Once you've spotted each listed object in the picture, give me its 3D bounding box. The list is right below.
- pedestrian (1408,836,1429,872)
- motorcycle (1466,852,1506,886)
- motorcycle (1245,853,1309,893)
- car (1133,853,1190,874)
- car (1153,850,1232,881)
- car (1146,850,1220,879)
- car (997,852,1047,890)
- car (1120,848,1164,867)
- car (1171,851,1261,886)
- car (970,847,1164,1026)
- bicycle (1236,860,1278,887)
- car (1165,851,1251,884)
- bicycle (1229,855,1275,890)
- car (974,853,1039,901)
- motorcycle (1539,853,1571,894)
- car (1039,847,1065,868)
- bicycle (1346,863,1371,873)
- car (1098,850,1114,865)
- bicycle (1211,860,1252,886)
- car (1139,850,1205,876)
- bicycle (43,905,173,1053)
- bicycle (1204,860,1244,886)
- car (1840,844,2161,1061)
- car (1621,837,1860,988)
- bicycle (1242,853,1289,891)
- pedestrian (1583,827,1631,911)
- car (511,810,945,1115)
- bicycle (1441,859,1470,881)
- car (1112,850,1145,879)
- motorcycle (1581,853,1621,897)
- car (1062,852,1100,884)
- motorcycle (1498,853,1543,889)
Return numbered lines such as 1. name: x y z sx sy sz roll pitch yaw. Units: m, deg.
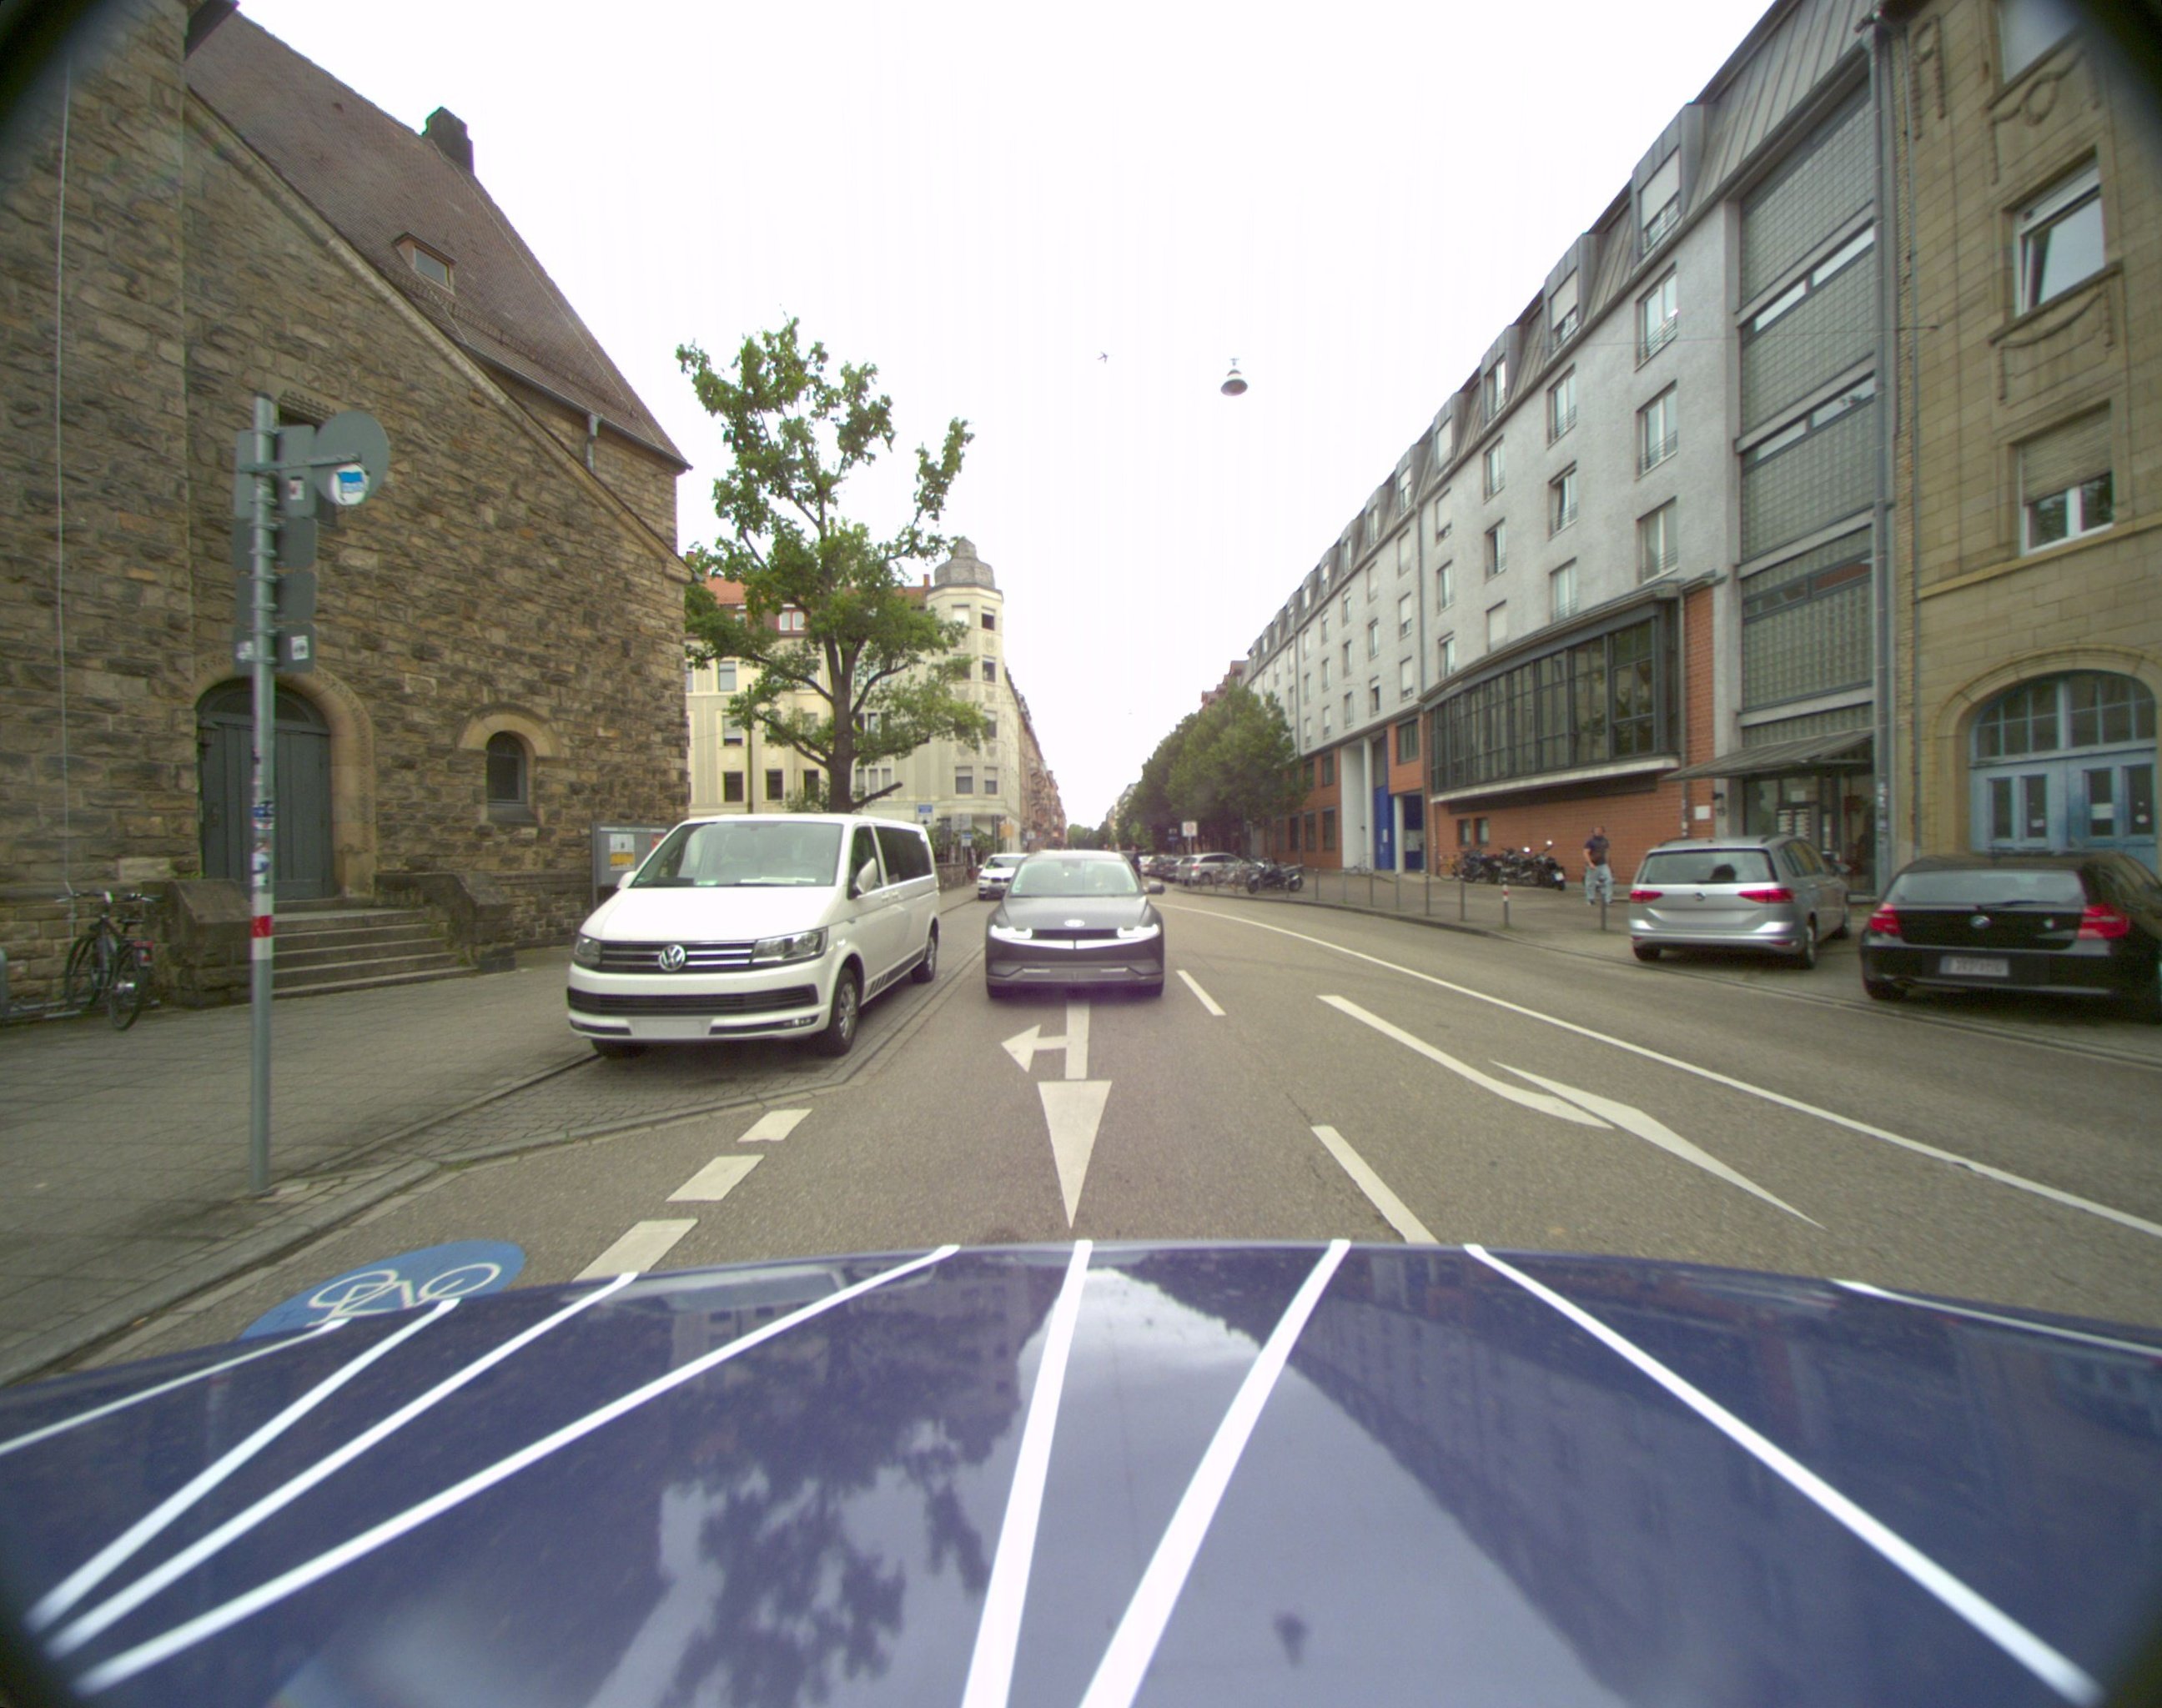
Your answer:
1. pedestrian: 15.348 -0.001 34.566 0.686 1.640 0.622 -1 1 2
2. motorcycle: 13.769 0.490 25.850 0.446 1.091 1.763 -1 0 2
3. motorcycle: 7.082 0.691 27.488 2.124 1.345 0.599 -3 1 1
4. car: 6.198 0.724 58.674 4.004 1.488 1.735 -1 0 -22
5. car: 6.365 0.637 43.320 4.004 1.619 1.996 -1 0 -22
6. car: 6.183 0.614 46.091 4.004 1.619 1.996 -1 0 -22
7. car: -2.505 0.693 33.141 1.820 1.556 4.000 -1 0 1
8. car: 6.319 0.375 78.334 4.004 1.898 1.996 -1 0 -22
9. car: 6.659 0.682 37.442 4.004 1.619 1.769 -1 0 -22
10. car: -0.099 0.778 9.227 1.820 1.675 4.000 -1 0 1
11. bicycle: 7.408 0.818 31.959 1.630 1.067 0.416 -3 1 -1
12. car: 6.679 0.663 40.102 4.004 1.619 1.996 -1 0 -22
13. bicycle: 6.605 0.700 29.347 1.630 1.282 0.416 -3 1 -1
14. car: -2.567 0.762 26.997 1.820 1.556 4.000 -1 0 1
15. motorcycle: 13.429 0.529 21.566 0.445 1.091 1.765 -1 0 21
16. car: -2.213 0.226 59.654 1.820 1.556 4.000 -1 0 1
17. bicycle: 13.539 0.676 37.078 1.010 0.434 0.527 -1 2 2
18. car: 3.189 0.450 97.320 1.998 1.897 4.000 -1 0 2
19. bicycle: 6.546 0.826 33.030 1.630 1.067 0.416 -3 1 -1
20. car: 6.241 0.597 52.036 4.004 1.619 1.996 -1 0 -22
21. bicycle: -8.218 1.017 6.411 1.340 1.140 0.311 -1 1 23
22. bicycle: 6.331 0.826 33.698 1.630 1.067 0.416 -3 1 -1
23. car: 9.253 0.736 7.374 4.006 1.430 1.729 -4 1 -31
24. car: 9.142 0.662 10.423 4.007 1.545 1.729 -4 1 -38
25. bicycle: 6.944 0.672 28.580 1.630 1.345 0.416 -3 1 -1
26. pedestrian: 11.612 0.321 16.793 0.621 1.812 0.642 -1 1 1
27. car: -2.692 0.680 7.398 1.810 1.908 5.163 -1 0 0
28. bicycle: 13.984 0.603 28.434 0.336 0.783 1.581 -1 0 2
29. car: 3.012 0.638 48.821 1.698 1.793 4.128 0 0 -2
30. motorcycle: 13.627 0.527 19.949 0.445 1.091 1.765 -1 0 21
31. car: 0.048 0.730 42.190 1.910 1.597 4.251 -1 1 2
32. motorcycle: 13.768 0.519 23.843 0.446 1.091 1.763 -1 0 2
